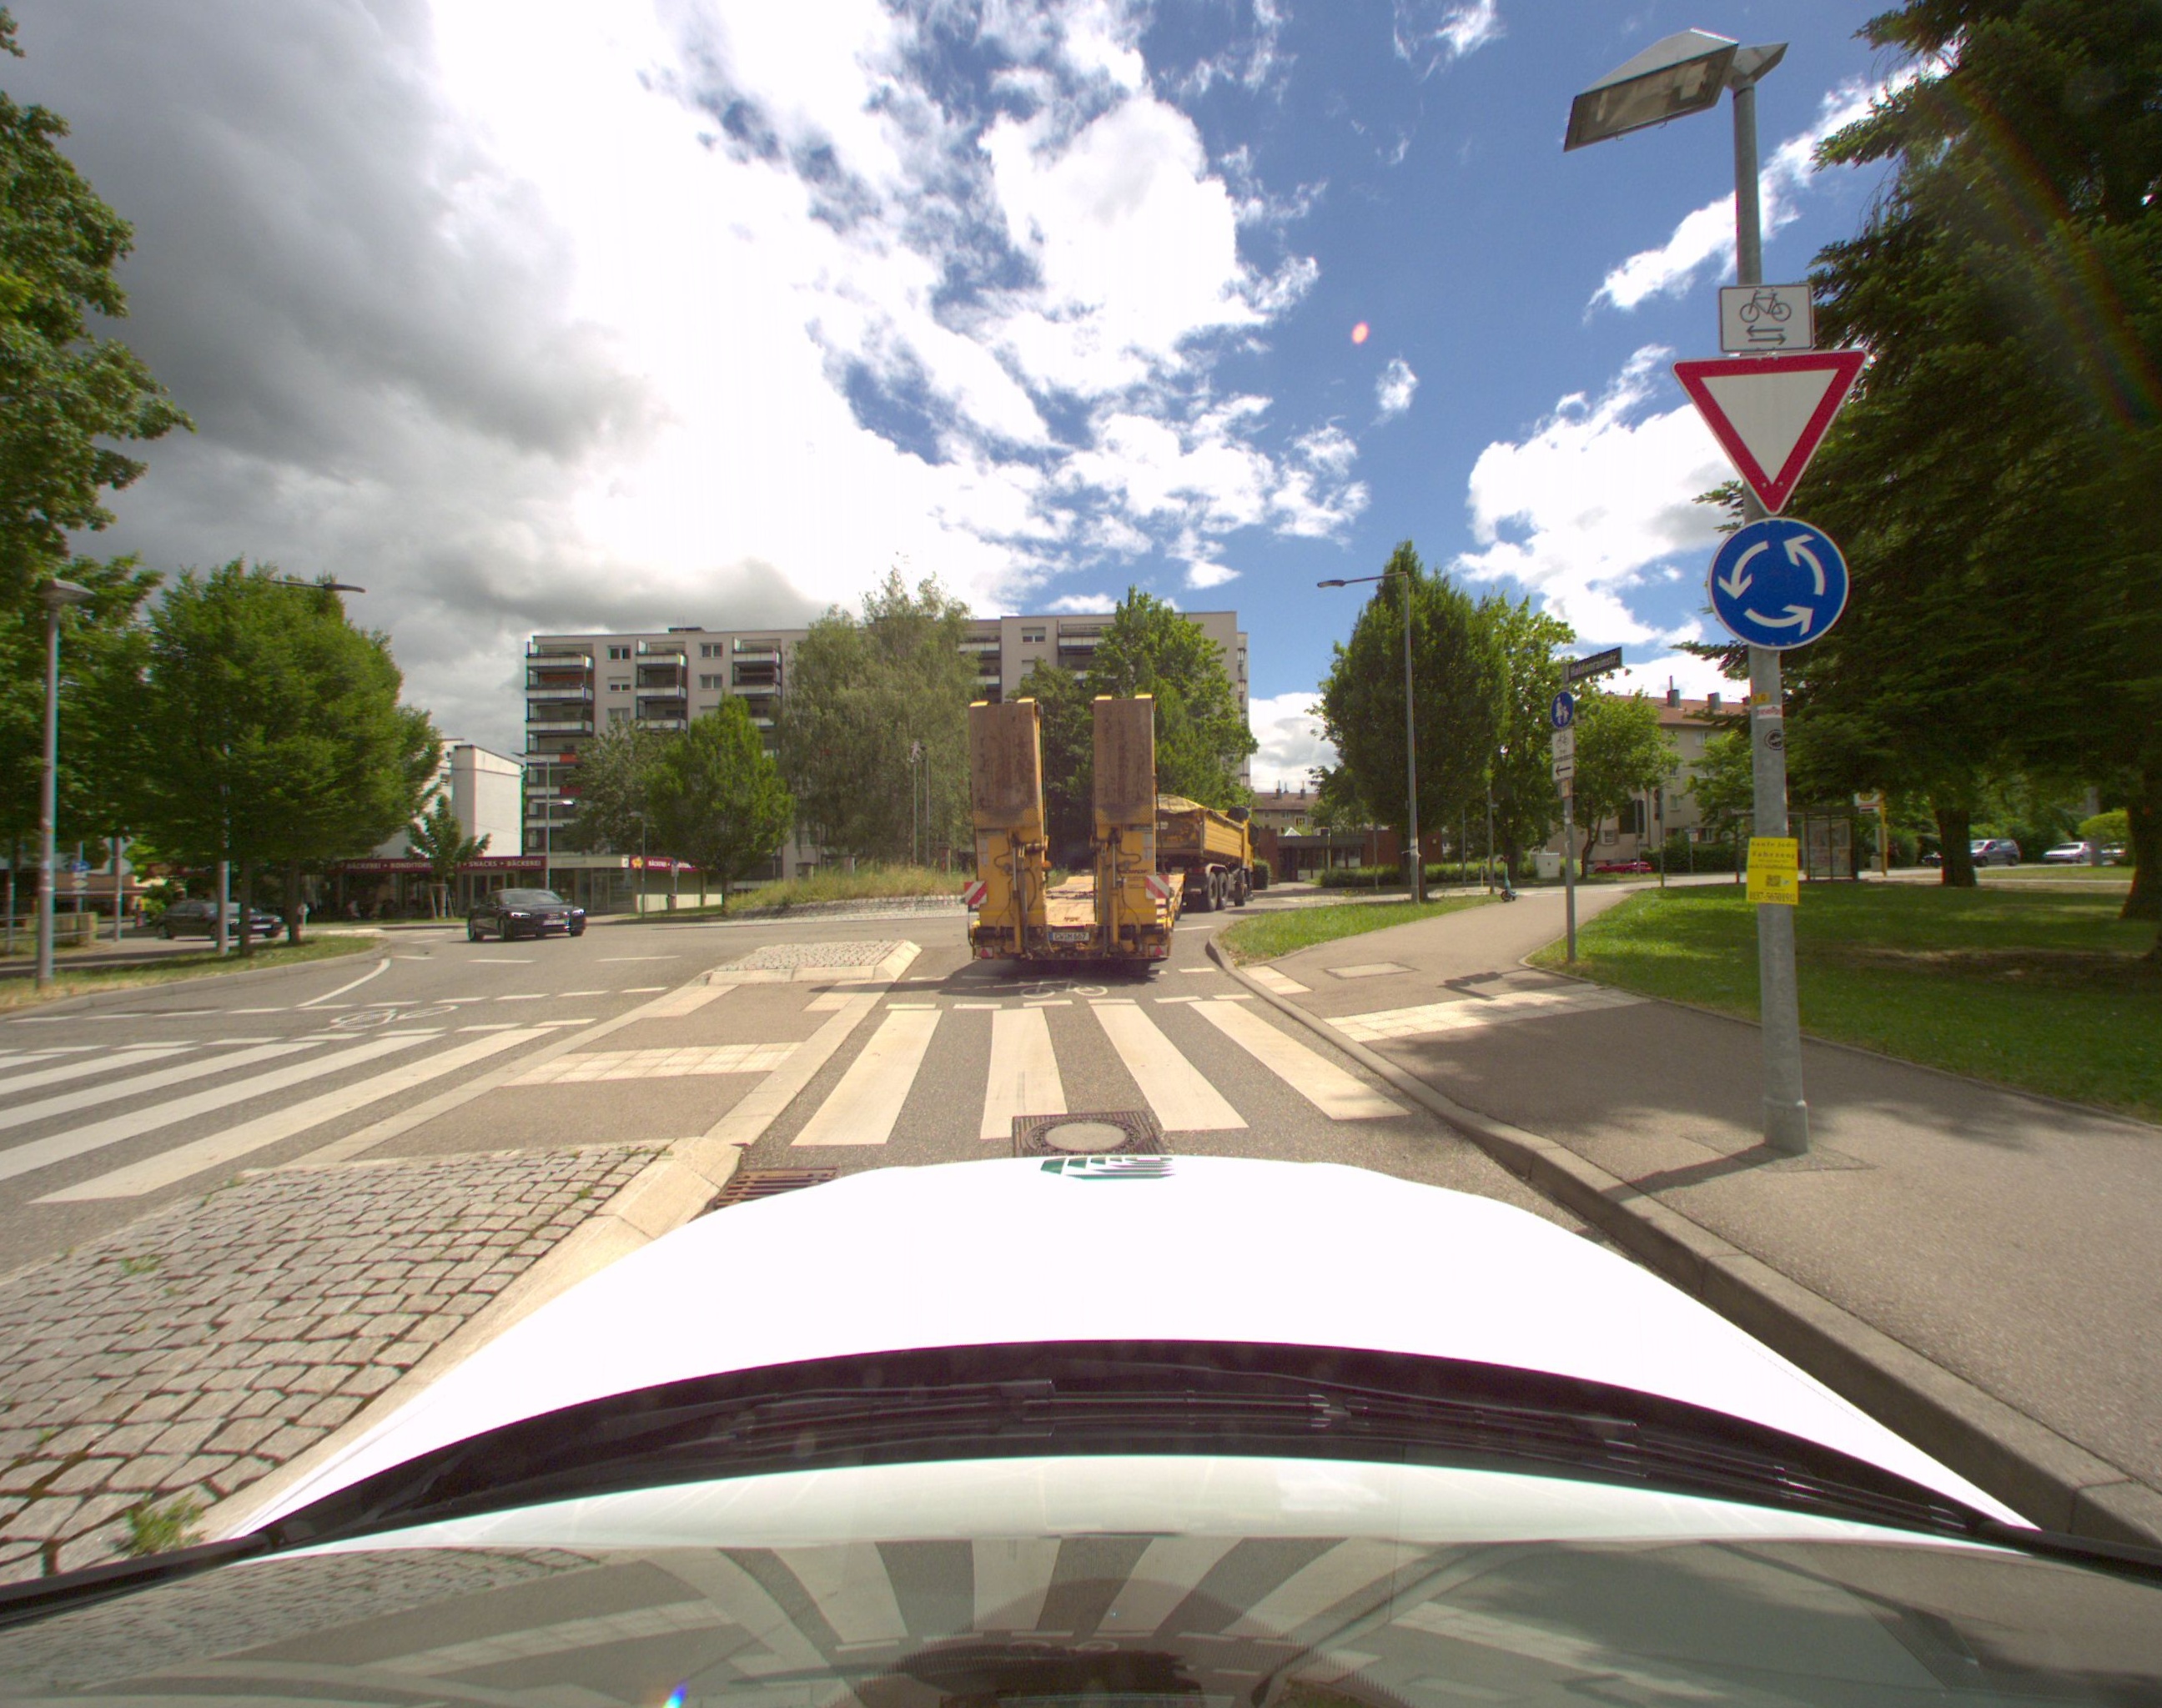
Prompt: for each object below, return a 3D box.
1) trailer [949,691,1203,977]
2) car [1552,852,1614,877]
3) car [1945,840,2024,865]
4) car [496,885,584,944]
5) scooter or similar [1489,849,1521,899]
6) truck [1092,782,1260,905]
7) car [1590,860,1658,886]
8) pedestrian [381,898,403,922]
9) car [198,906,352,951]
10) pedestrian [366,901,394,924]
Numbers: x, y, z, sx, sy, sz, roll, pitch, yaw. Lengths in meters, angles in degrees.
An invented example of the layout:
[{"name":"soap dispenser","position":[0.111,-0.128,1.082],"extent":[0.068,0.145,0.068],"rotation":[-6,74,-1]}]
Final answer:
[{"name":"trailer","position":[0.706,-0.252,15.198],"extent":[2.846,3.372,10.871],"rotation":[0,0,10]},{"name":"car","position":[40.326,0.837,65.529],"extent":[1.996,1.942,3.981],"rotation":[0,-2,-13]},{"name":"car","position":[58.308,-0.086,52.562],"extent":[3.998,1.553,1.988],"rotation":[0,-1,-18]},{"name":"car","position":[-15.093,1.606,22.623],"extent":[1.831,1.384,4.567],"rotation":[-1,-1,-36]},{"name":"scooter or similar","position":[11.932,0.552,22.905],"extent":[0.480,1.343,1.397],"rotation":[-4,-1,39]},{"name":"truck","position":[3.219,-0.305,24.616],"extent":[2.962,3.034,8.530],"rotation":[0,0,21]},{"name":"car","position":[40.774,1.430,61.292],"extent":[2.014,1.942,3.981],"rotation":[0,-1,-13]},{"name":"pedestrian","position":[-41.162,3.354,48.664],"extent":[0.692,1.381,0.721],"rotation":[-3,-1,8]},{"name":"car","position":[-29.205,2.662,29.555],"extent":[4.344,1.455,1.865],"rotation":[0,-1,12]},{"name":"pedestrian","position":[-41.132,3.433,47.803],"extent":[0.817,1.325,0.880],"rotation":[0,-1,1]}]
